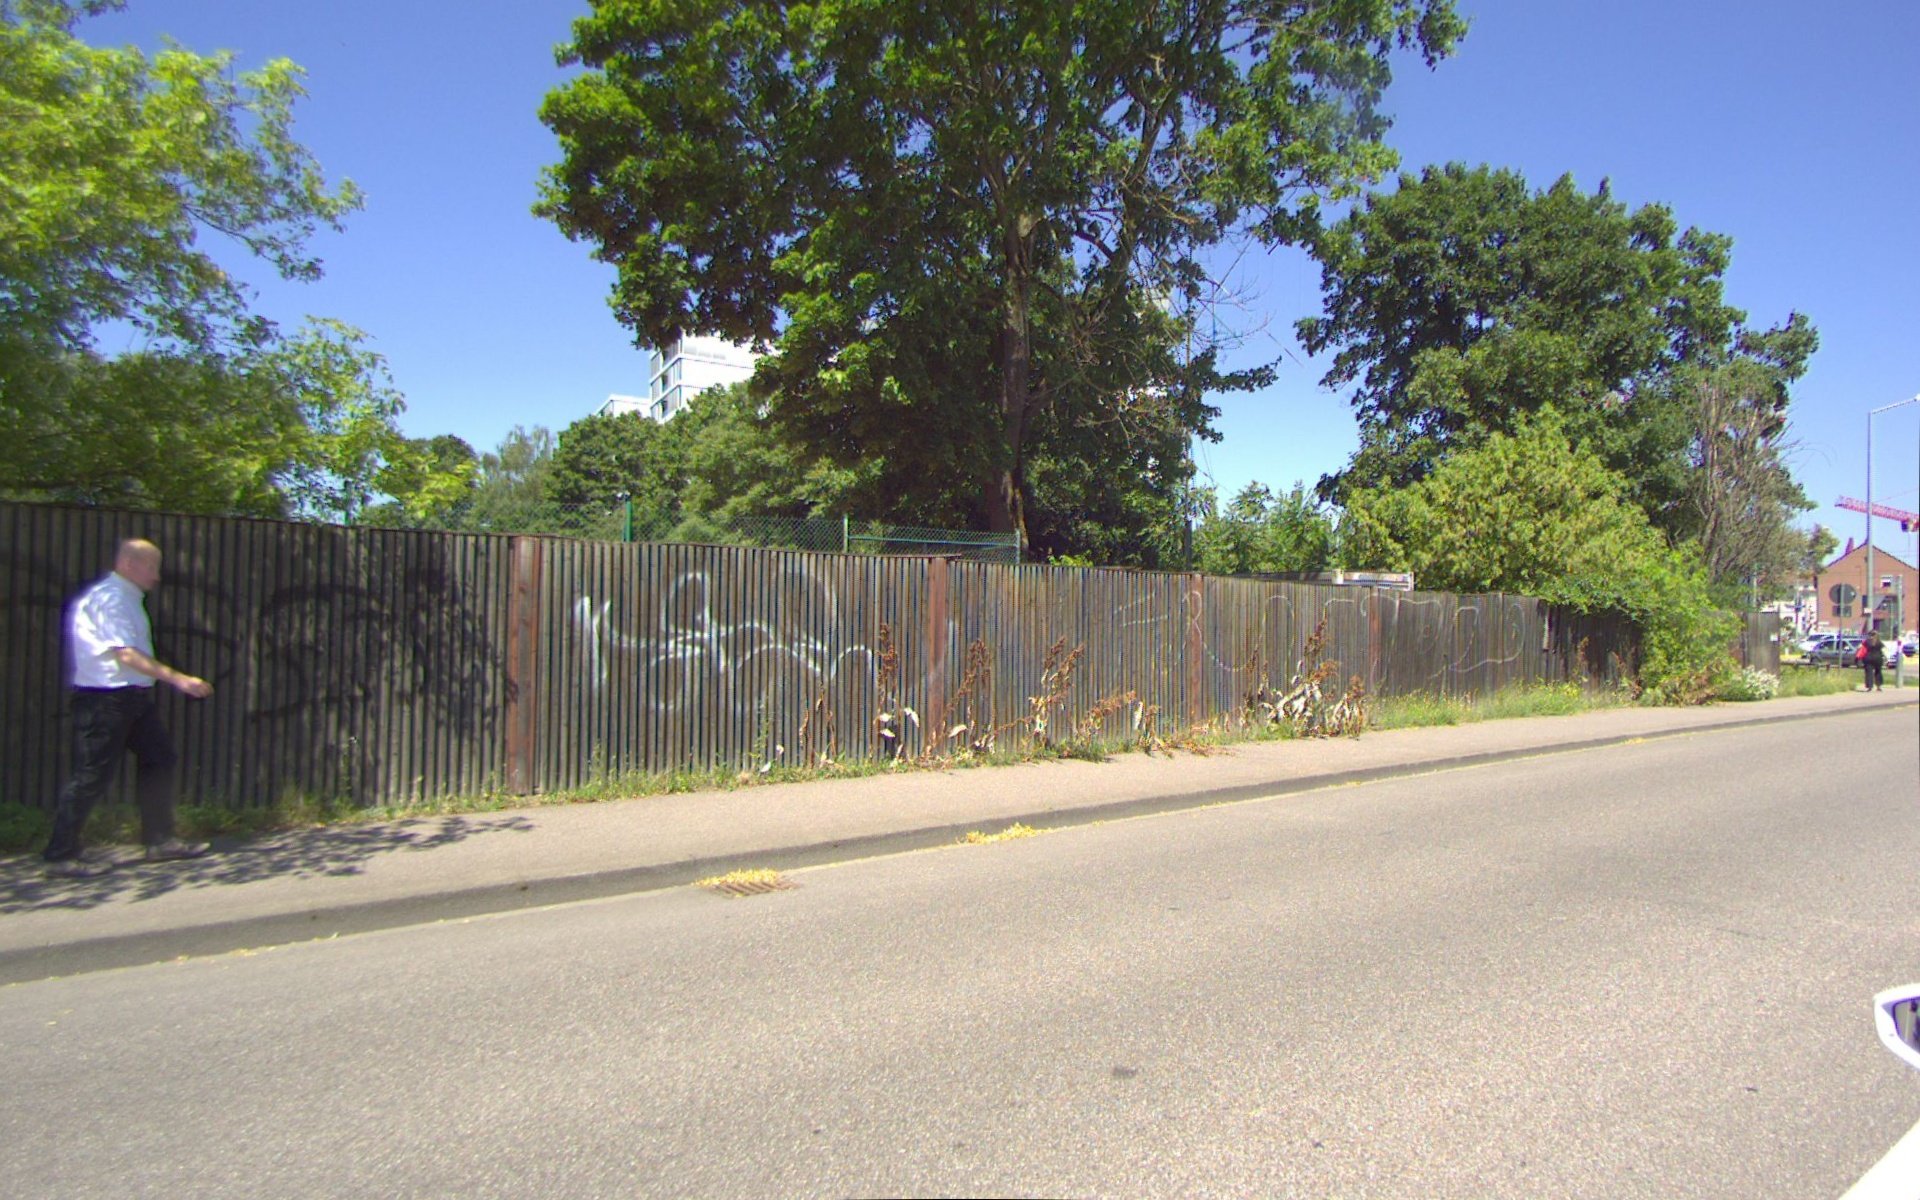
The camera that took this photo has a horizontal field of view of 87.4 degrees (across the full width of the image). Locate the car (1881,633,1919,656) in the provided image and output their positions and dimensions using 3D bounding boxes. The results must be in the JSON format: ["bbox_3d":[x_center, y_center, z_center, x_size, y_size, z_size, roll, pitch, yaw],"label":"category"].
[{"bbox_3d":[76.699,3.540,79.772,4.801,1.810,2.028,0,-2,12],"label":"car"}]

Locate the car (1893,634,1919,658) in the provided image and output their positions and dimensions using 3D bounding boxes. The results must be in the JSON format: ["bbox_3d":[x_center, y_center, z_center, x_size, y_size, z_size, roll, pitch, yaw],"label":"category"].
[{"bbox_3d":[66.085,3.143,69.100,3.953,1.570,1.748,2,-1,-30],"label":"car"}]

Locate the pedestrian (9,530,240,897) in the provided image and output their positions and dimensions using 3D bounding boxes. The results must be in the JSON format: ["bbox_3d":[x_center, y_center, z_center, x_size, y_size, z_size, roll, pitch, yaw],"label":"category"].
[{"bbox_3d":[-4.545,0.580,5.528,0.841,1.849,0.589,2,0,-30],"label":"pedestrian"}]

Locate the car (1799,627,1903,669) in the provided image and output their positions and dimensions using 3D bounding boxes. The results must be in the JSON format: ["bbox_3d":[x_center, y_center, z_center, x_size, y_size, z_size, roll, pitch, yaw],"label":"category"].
[{"bbox_3d":[41.969,2.262,47.416,1.600,1.874,3.679,1,-2,0],"label":"car"}]

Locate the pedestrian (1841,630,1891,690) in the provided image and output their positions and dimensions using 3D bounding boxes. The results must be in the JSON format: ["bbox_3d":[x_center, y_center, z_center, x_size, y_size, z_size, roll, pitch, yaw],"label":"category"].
[{"bbox_3d":[24.516,1.610,27.185,0.868,1.584,0.803,2,0,-34],"label":"pedestrian"}]
